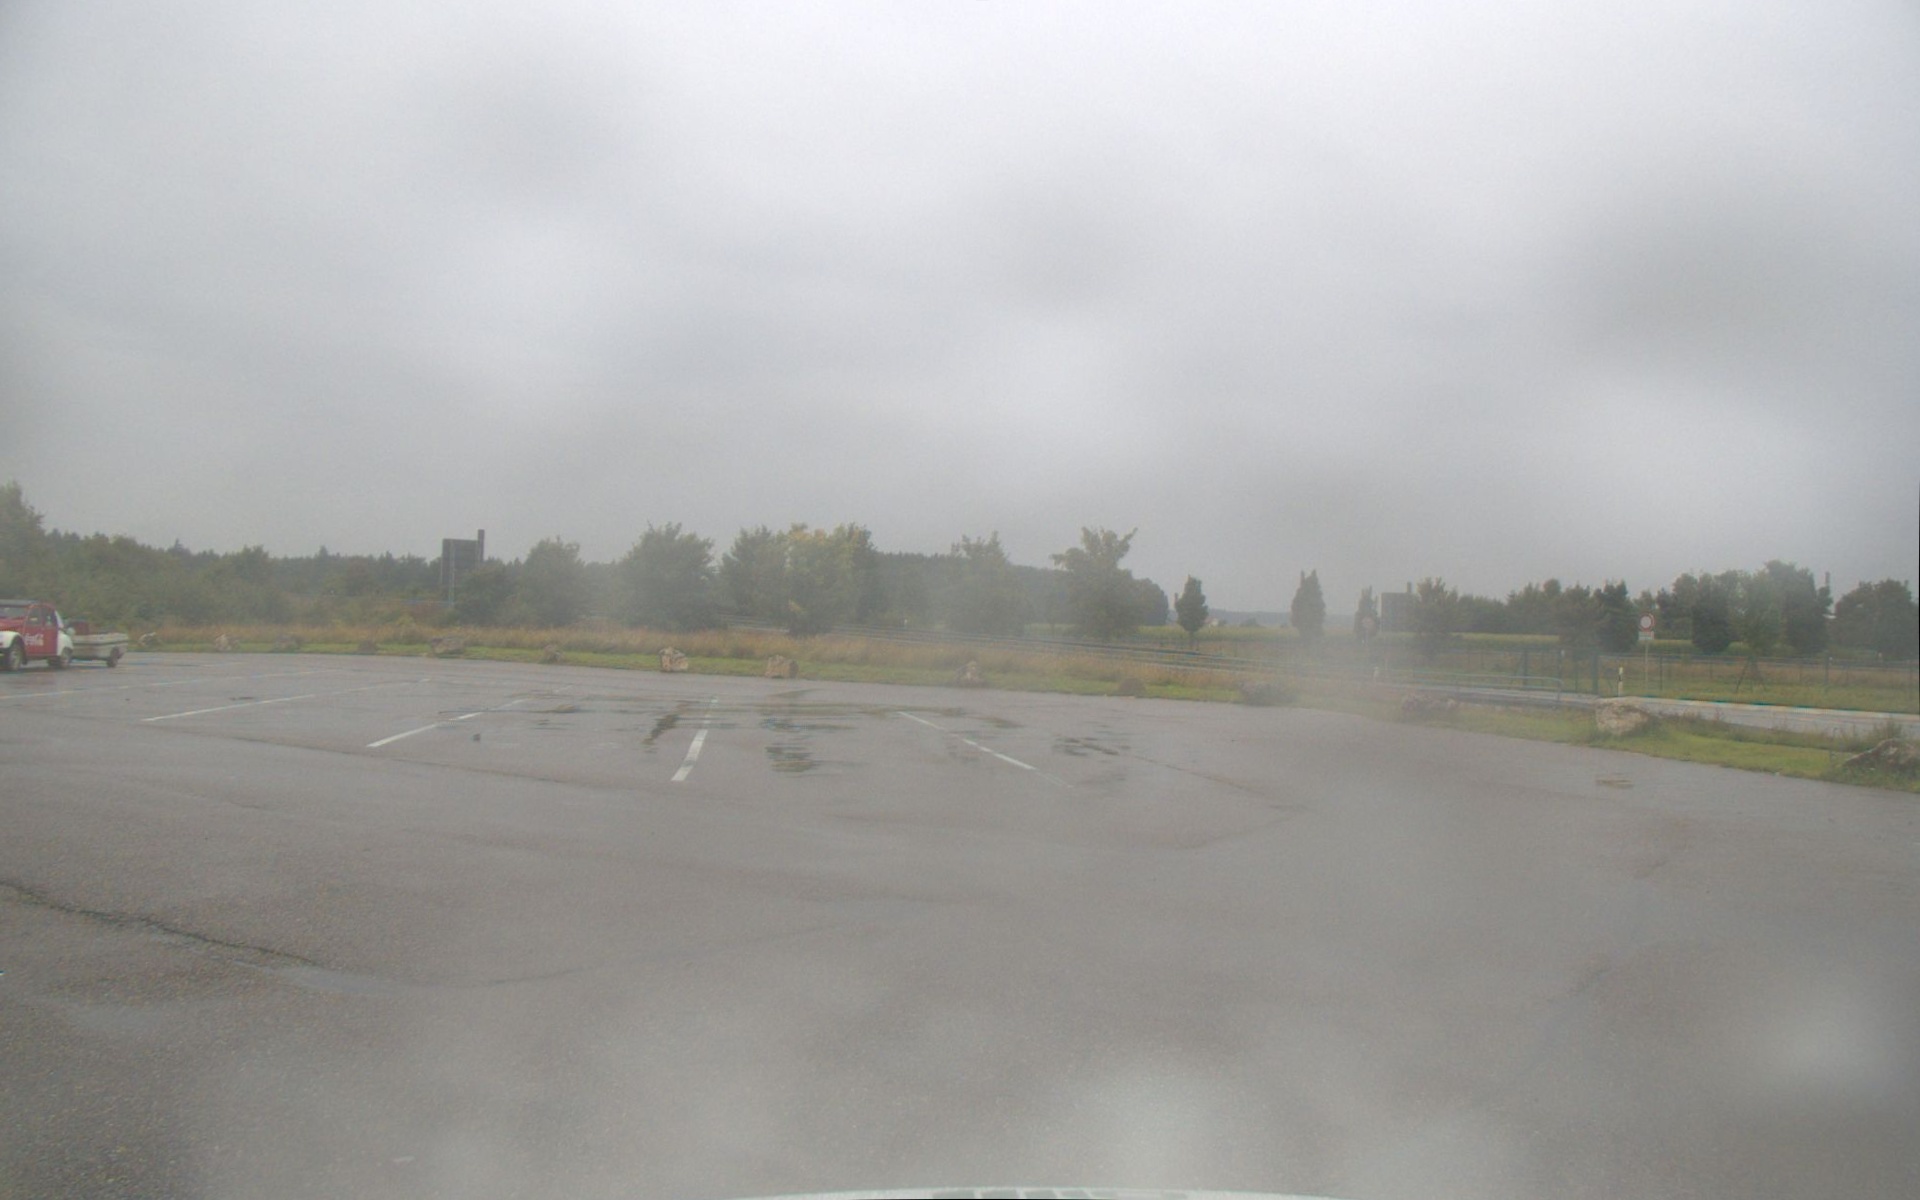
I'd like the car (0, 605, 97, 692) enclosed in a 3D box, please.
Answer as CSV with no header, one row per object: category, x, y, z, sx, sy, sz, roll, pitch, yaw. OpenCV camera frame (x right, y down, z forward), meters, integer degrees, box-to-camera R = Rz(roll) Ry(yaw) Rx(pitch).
car,-20.670,1.044,36.169,1.787,1.808,3.995,0,-1,-6

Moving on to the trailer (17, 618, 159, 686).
trailer,-21.082,1.228,40.152,1.662,1.559,3.994,0,-1,-6
